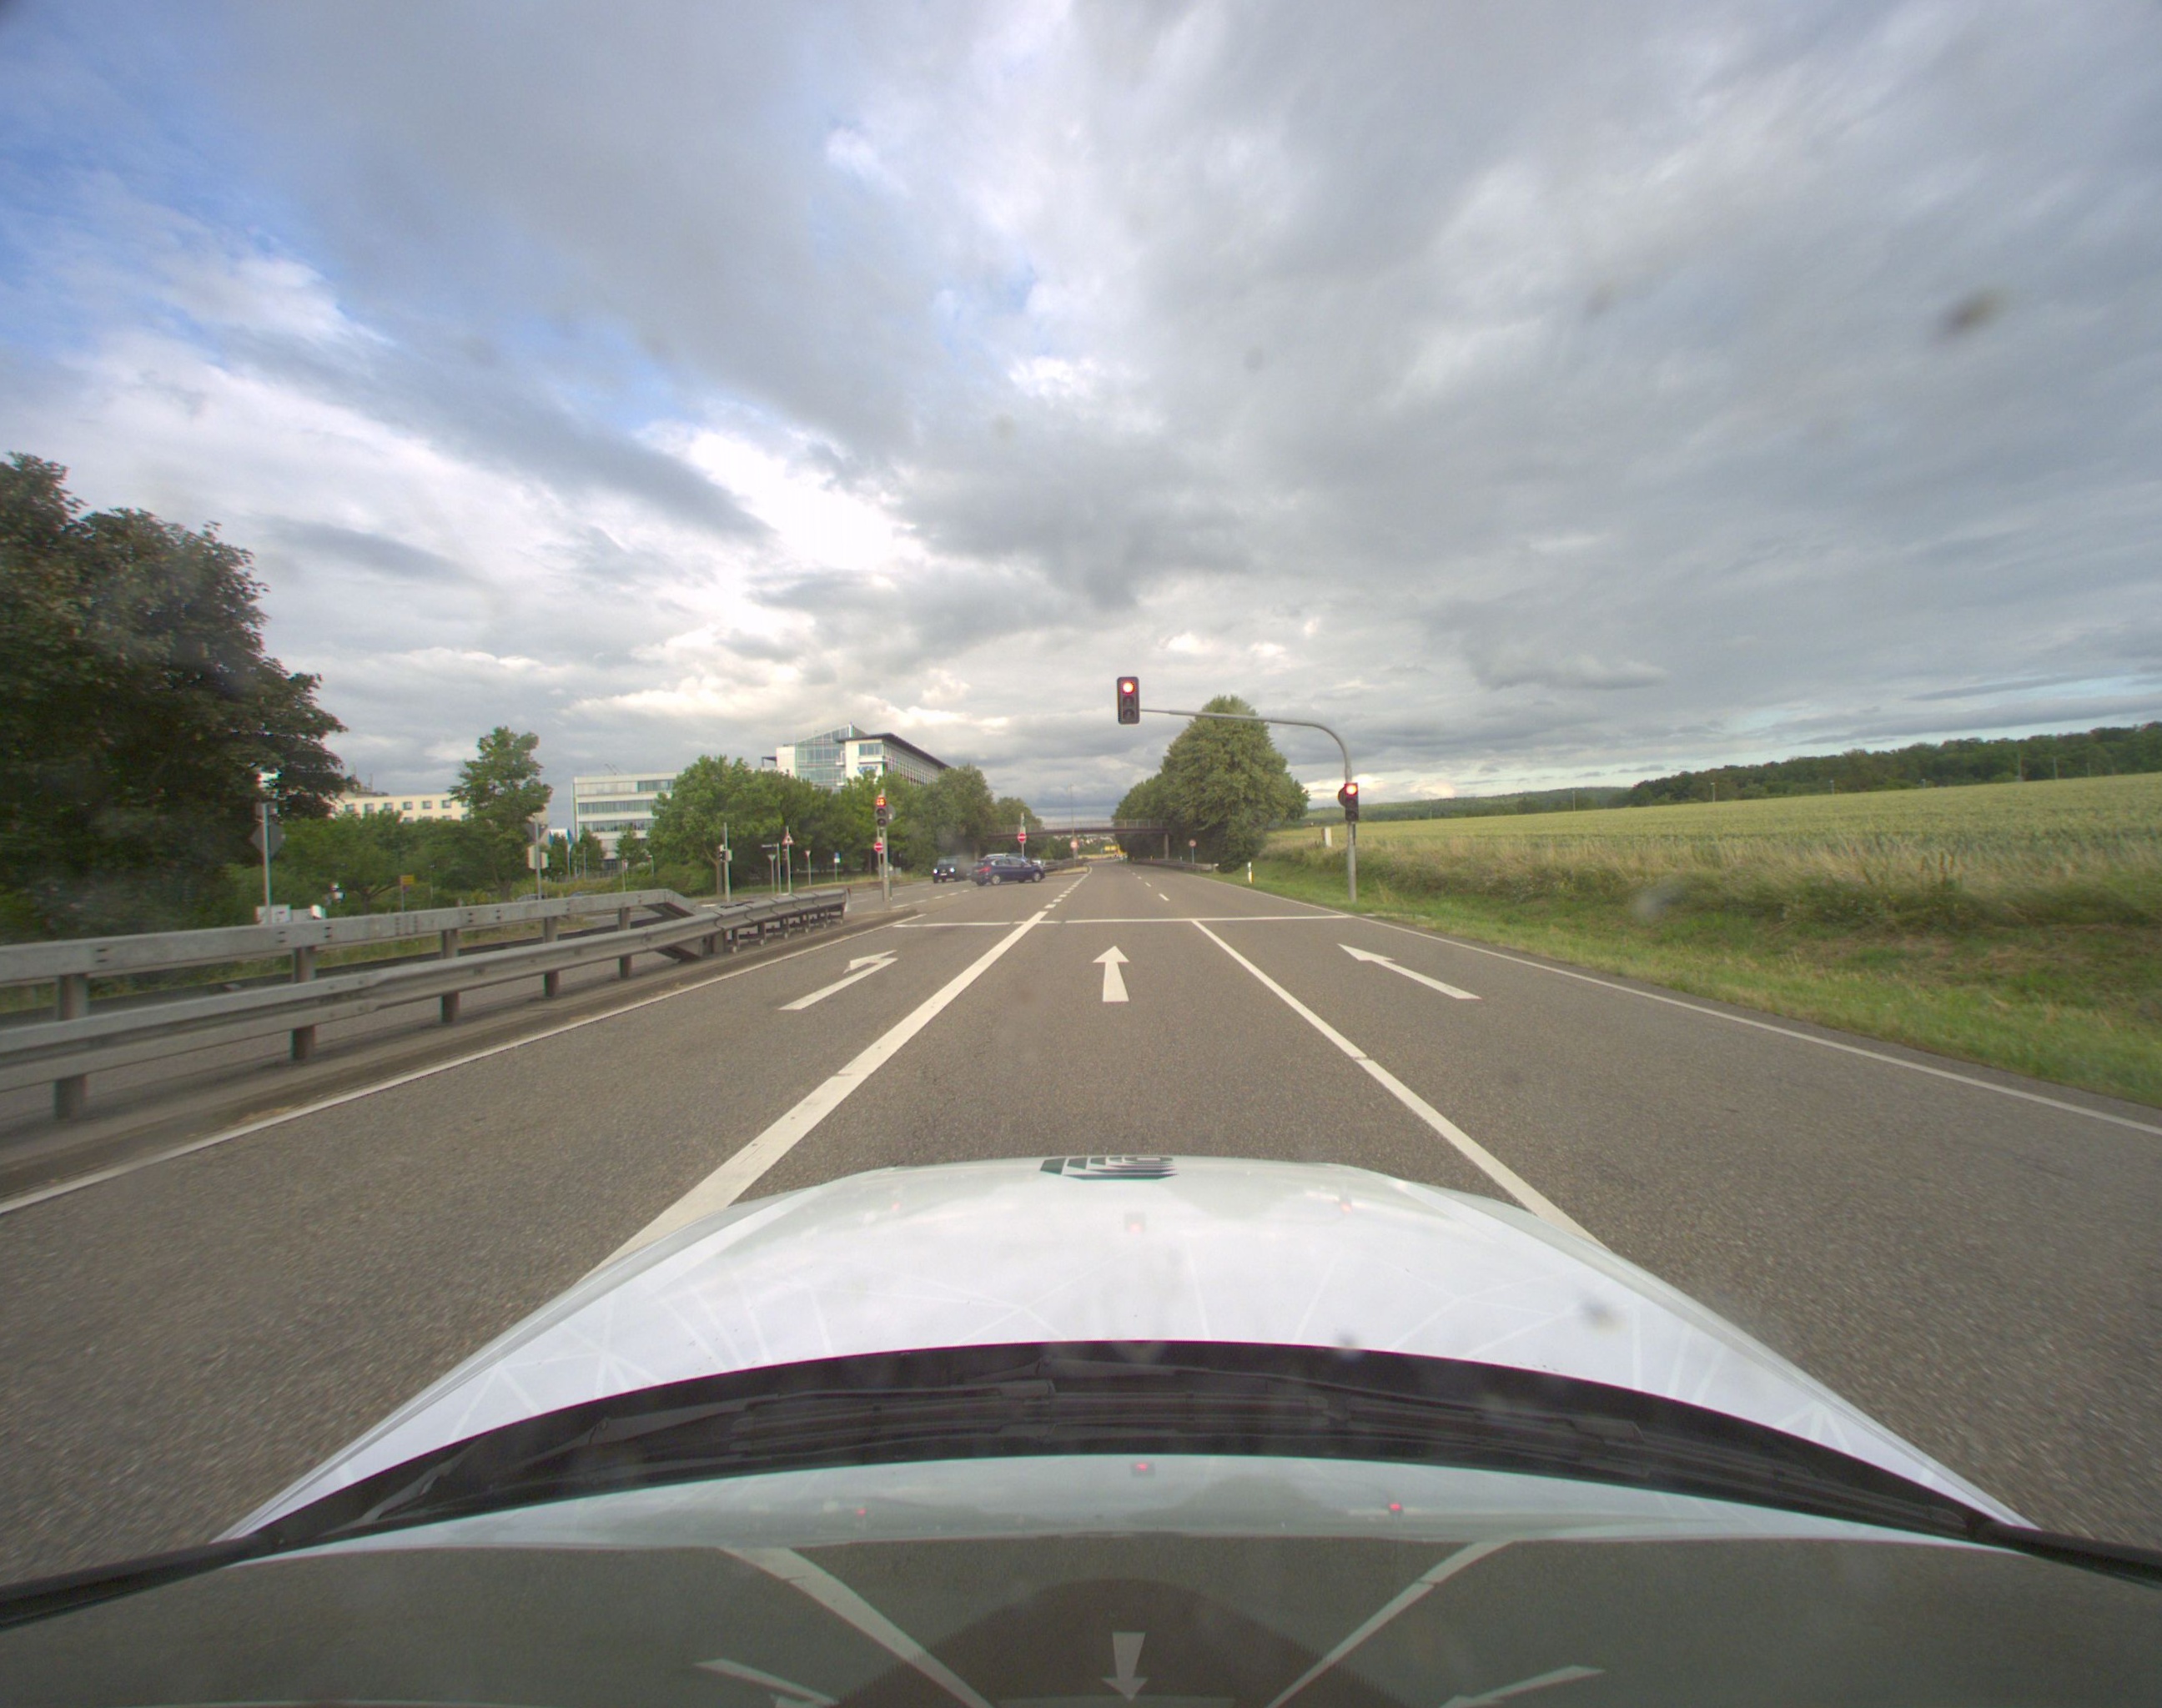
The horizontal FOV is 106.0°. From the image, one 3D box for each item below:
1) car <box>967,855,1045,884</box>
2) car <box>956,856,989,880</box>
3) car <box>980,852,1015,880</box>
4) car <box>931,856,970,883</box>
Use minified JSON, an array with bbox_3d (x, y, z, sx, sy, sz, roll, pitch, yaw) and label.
[{"bbox_3d":[-4.212,0.844,45.841,4.014,1.552,1.866,0,-1,-33],"label":"car"},{"bbox_3d":[-9.336,1.210,70.584,2.076,2.014,5.216,0,-1,1],"label":"car"},{"bbox_3d":[-6.439,0.919,63.110,2.076,2.014,5.216,0,-1,1],"label":"car"},{"bbox_3d":[-10.059,1.153,63.097,2.076,2.014,5.216,0,-1,1],"label":"car"}]
